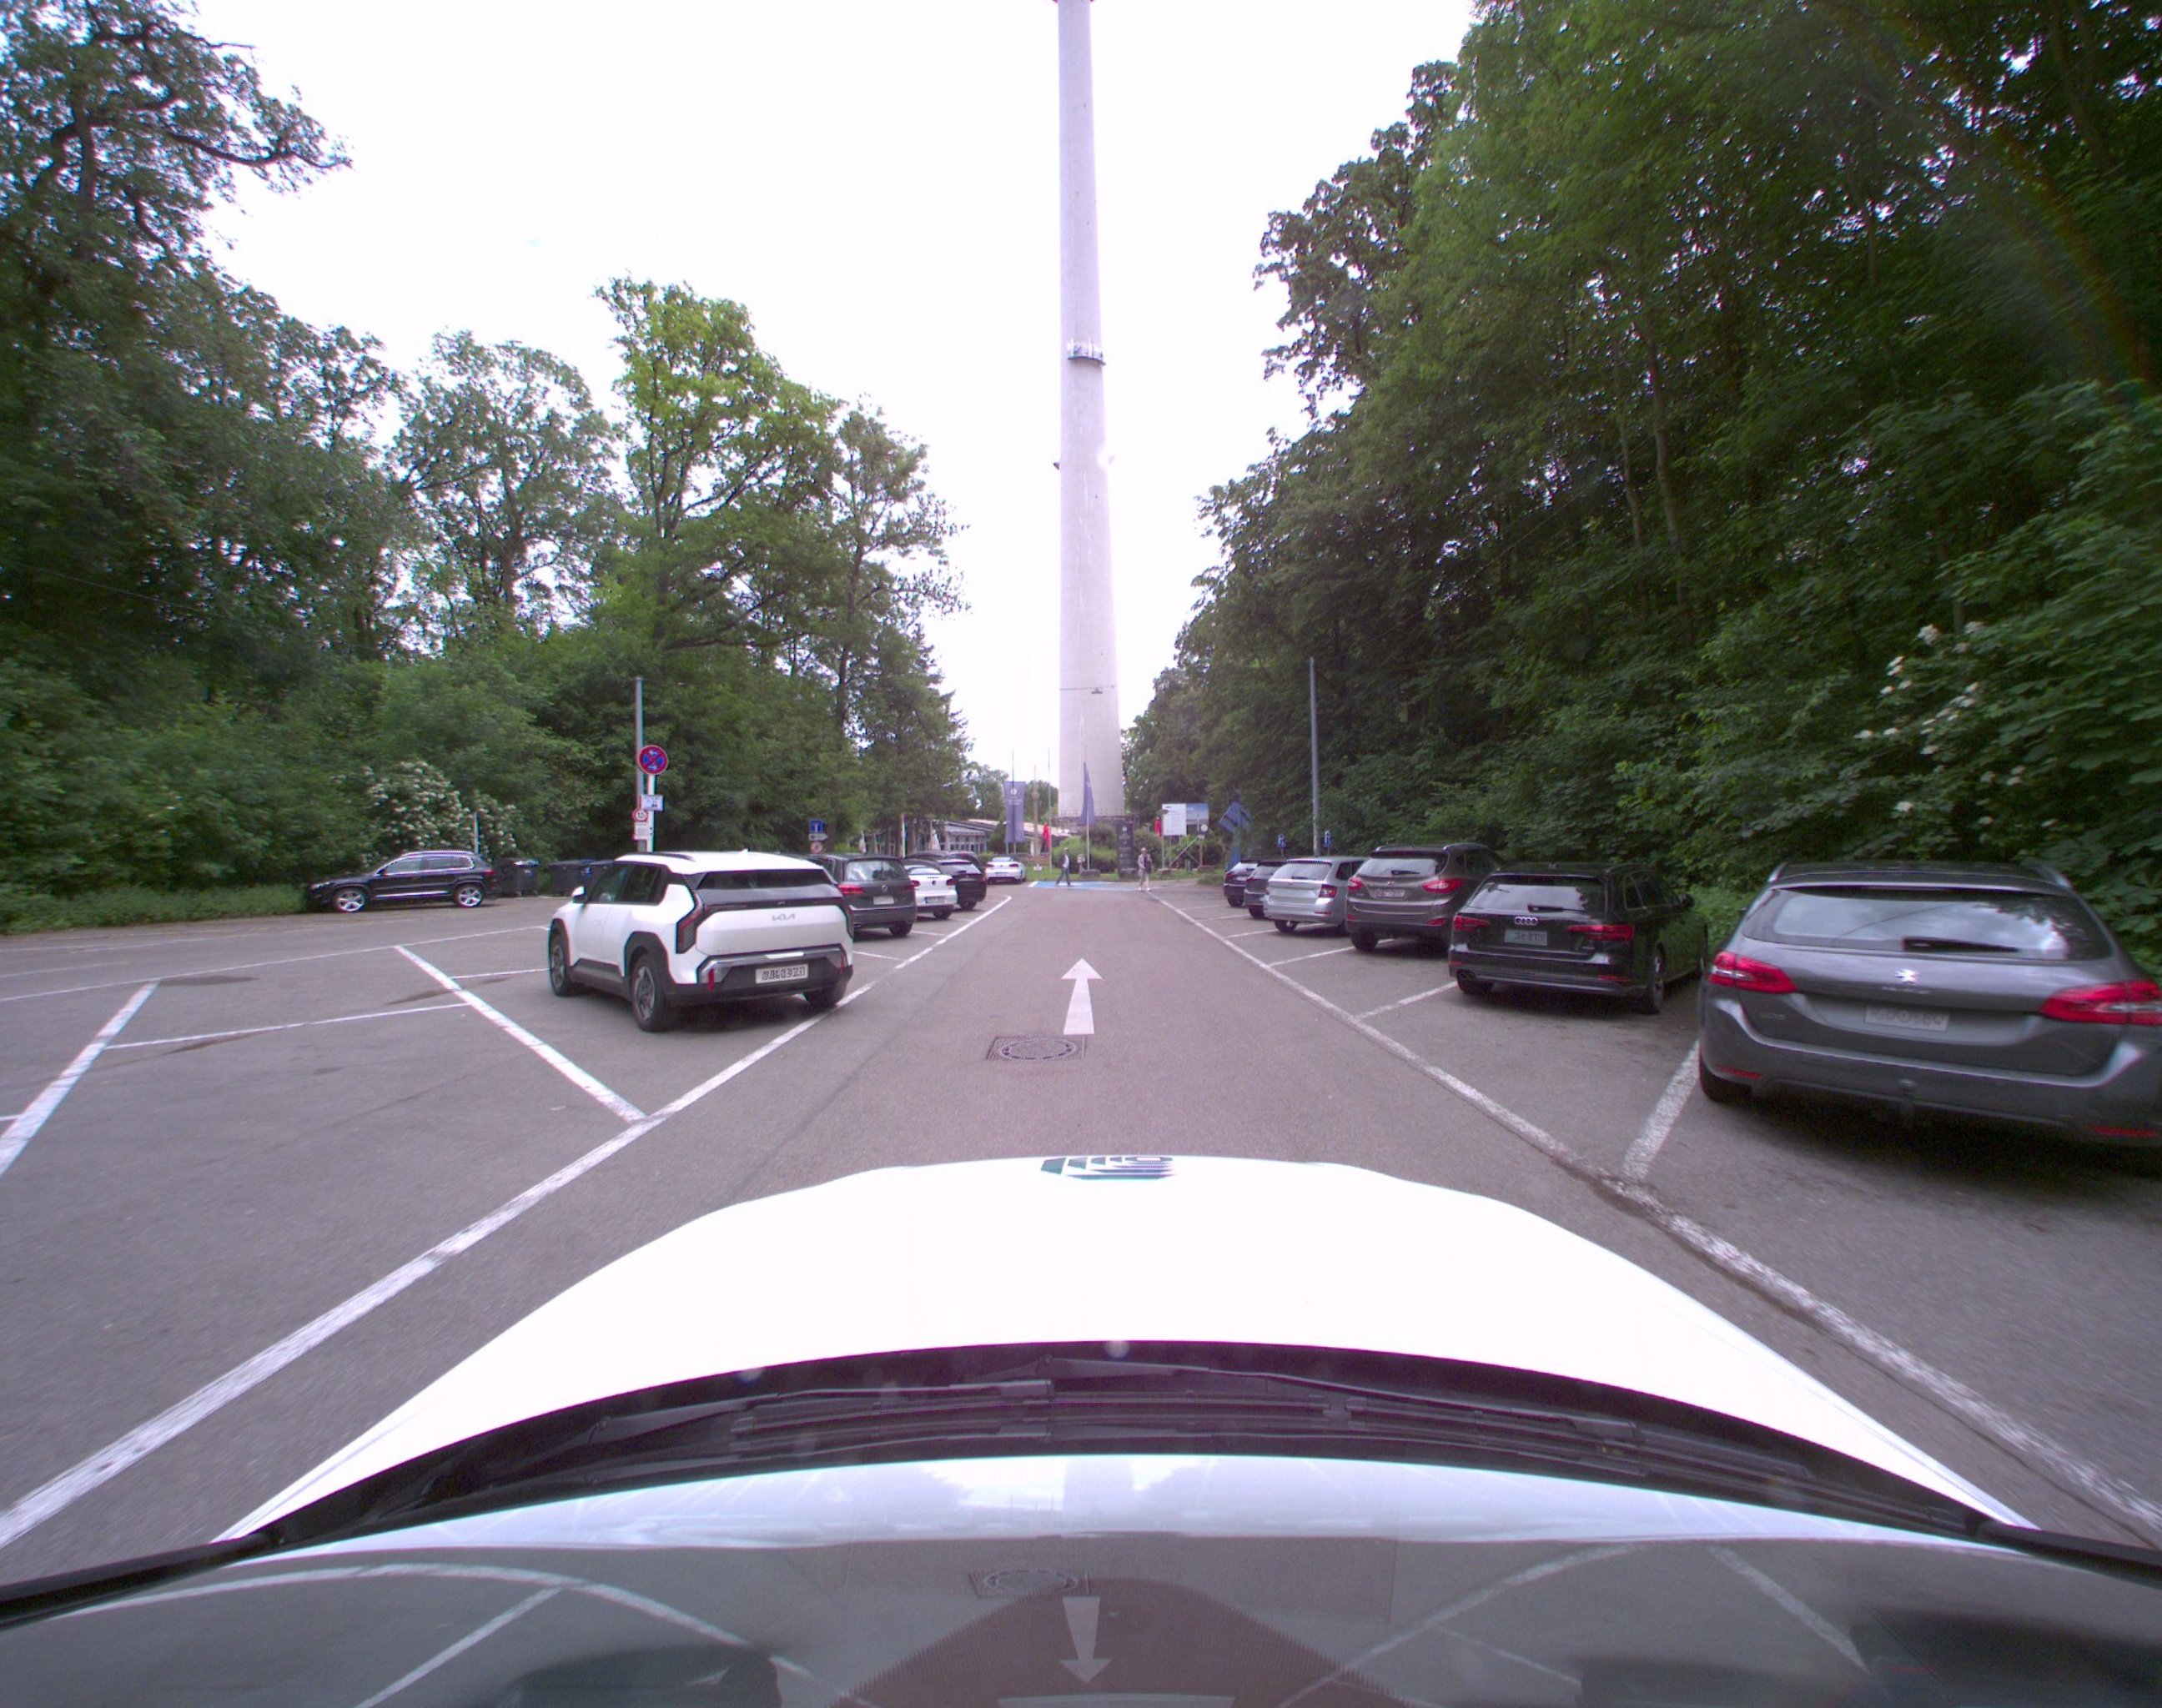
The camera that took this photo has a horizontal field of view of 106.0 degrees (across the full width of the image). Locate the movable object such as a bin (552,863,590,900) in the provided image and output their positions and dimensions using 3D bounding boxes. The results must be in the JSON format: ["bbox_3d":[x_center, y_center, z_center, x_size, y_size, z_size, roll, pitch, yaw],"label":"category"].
[{"bbox_3d":[-19.021,0.999,30.387,1.130,1.314,1.173,-1,0,-29],"label":"movable object such as a bin"}]

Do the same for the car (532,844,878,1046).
[{"bbox_3d":[-4.113,0.733,8.582,4.137,1.596,1.858,-1,0,43],"label":"car"}]

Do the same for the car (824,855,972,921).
[{"bbox_3d":[-4.539,0.765,19.882,1.783,1.443,3.798,-1,0,-44],"label":"car"}]

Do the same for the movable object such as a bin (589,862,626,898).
[{"bbox_3d":[-17.946,0.973,30.927,1.176,1.307,1.301,-1,0,-29],"label":"movable object such as a bin"}]

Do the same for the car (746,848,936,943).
[{"bbox_3d":[-4.755,0.706,15.839,3.928,1.587,1.858,0,1,45],"label":"car"}]

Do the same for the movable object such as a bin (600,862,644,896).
[{"bbox_3d":[-18.670,0.986,33.179,1.254,1.325,1.142,-1,0,-12],"label":"movable object such as a bin"}]

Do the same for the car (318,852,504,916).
[{"bbox_3d":[-19.575,0.801,23.902,4.094,1.685,1.857,-1,0,-44],"label":"car"}]

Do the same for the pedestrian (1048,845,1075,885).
[{"bbox_3d":[-0.831,0.479,35.604,0.885,1.725,0.769,-1,0,33],"label":"pedestrian"}]

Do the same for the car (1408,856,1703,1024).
[{"bbox_3d":[5.495,0.741,9.148,1.941,1.377,4.288,-1,0,43],"label":"car"}]

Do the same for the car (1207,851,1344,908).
[{"bbox_3d":[5.693,0.671,23.527,4.229,1.462,1.876,-1,0,-44],"label":"car"}]

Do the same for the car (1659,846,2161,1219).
[{"bbox_3d":[5.265,0.702,5.252,4.211,1.457,1.782,-1,0,-45],"label":"car"}]

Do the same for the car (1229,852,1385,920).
[{"bbox_3d":[5.524,0.688,19.619,1.886,1.422,4.023,0,0,45],"label":"car"}]

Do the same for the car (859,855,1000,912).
[{"bbox_3d":[-4.356,0.763,23.014,4.225,1.443,1.770,-1,0,43],"label":"car"}]

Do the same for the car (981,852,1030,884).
[{"bbox_3d":[-3.658,0.649,39.953,1.886,1.428,4.002,-1,0,1],"label":"car"}]

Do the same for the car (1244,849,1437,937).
[{"bbox_3d":[5.223,0.675,16.169,4.021,1.467,1.813,-1,1,-41],"label":"car"}]

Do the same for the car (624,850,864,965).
[{"bbox_3d":[-5.516,0.749,13.148,3.948,1.554,1.885,-1,0,38],"label":"car"}]

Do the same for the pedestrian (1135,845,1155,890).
[{"bbox_3d":[2.525,0.529,32.292,0.759,1.725,0.897,-1,0,2],"label":"pedestrian"}]

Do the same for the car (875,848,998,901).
[{"bbox_3d":[-4.900,0.646,27.214,4.333,1.608,1.840,-1,0,44],"label":"car"}]

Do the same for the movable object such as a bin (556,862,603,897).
[{"bbox_3d":[-19.762,0.994,32.125,1.121,1.320,1.238,-1,0,-4],"label":"movable object such as a bin"}]

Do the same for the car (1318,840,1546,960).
[{"bbox_3d":[5.844,0.606,13.287,4.287,1.636,1.941,-1,0,-45],"label":"car"}]

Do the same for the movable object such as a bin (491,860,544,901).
[{"bbox_3d":[-20.514,0.943,29.671,1.118,1.425,1.132,-1,0,4],"label":"movable object such as a bin"}]
